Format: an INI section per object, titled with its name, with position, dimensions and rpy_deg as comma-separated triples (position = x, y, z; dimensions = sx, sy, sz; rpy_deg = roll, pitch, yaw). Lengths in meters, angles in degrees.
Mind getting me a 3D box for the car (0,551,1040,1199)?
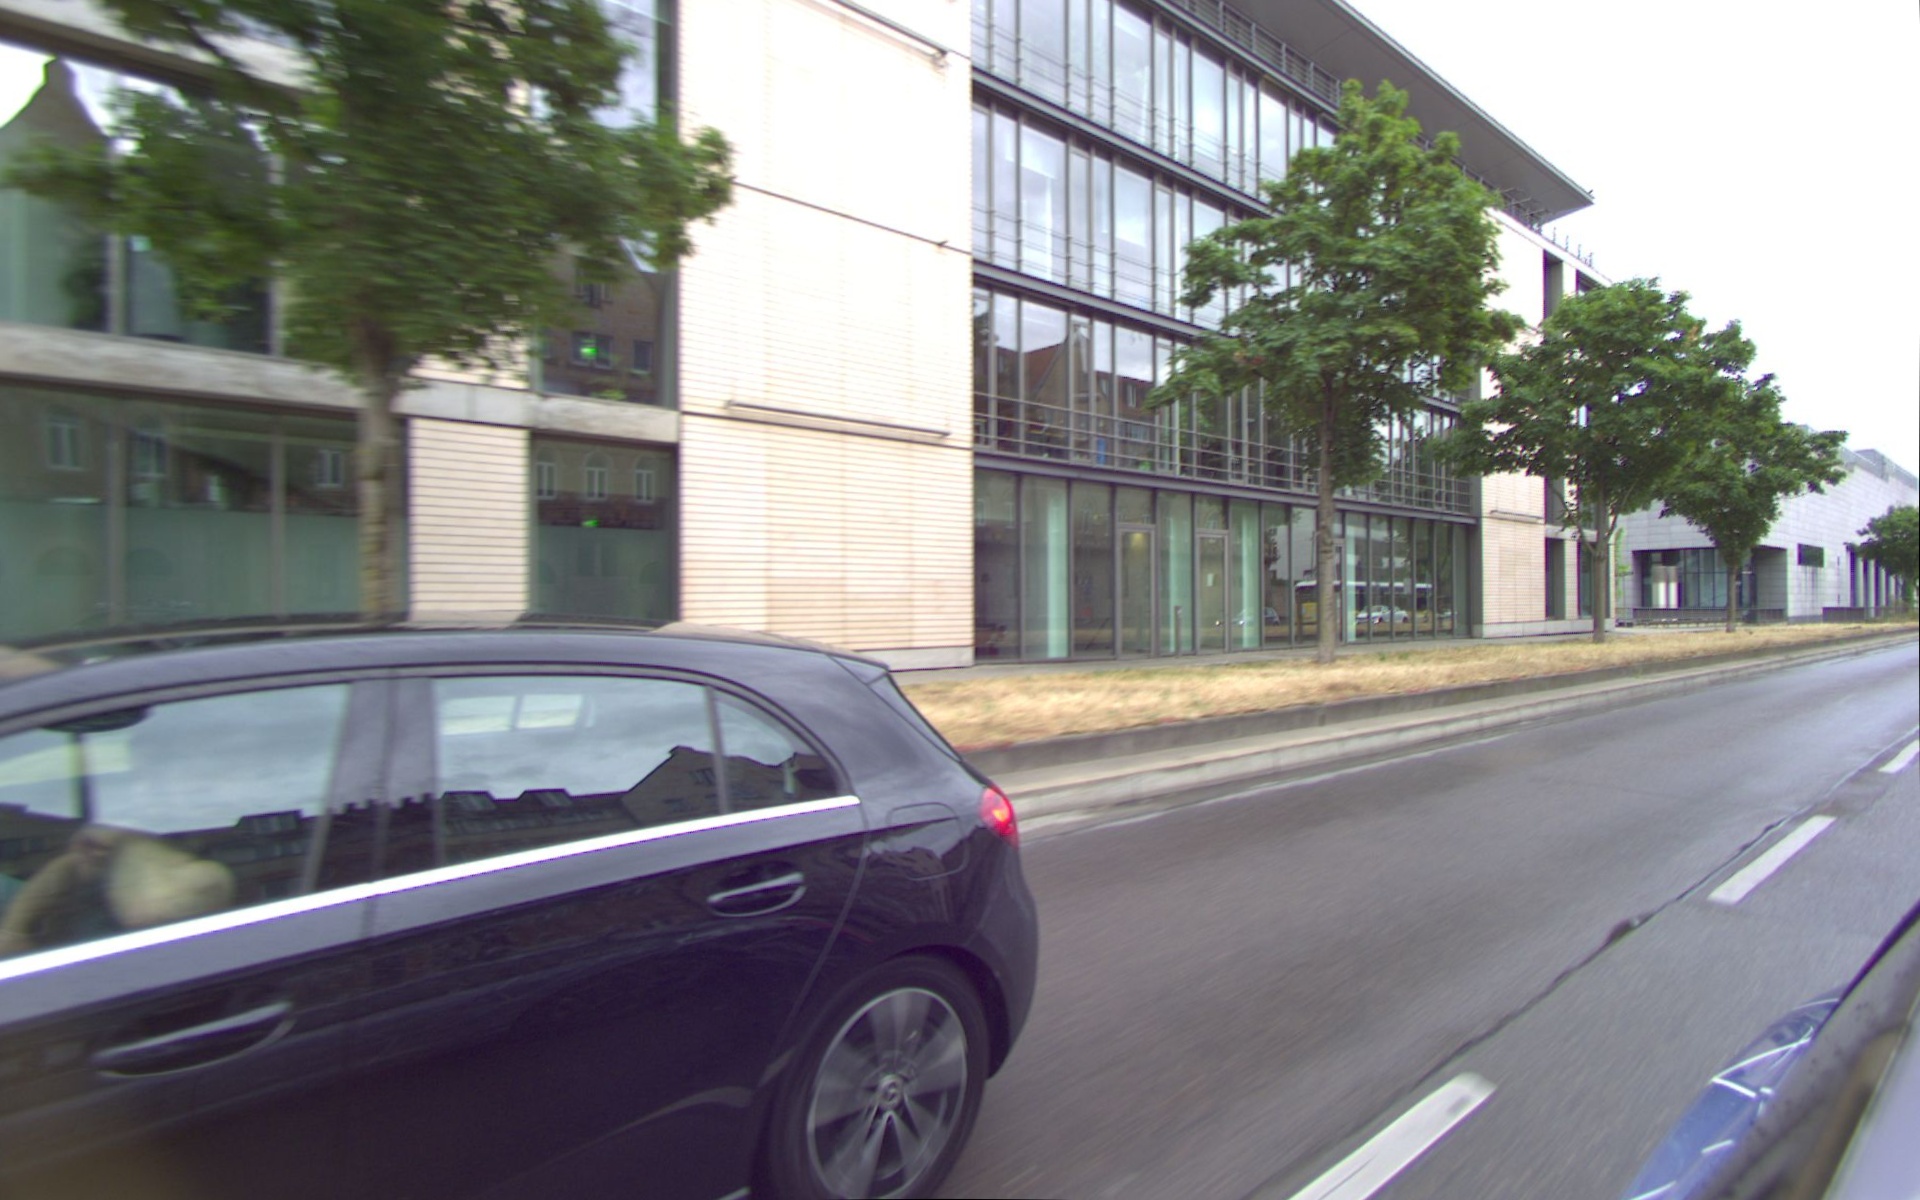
[car]
position = -1.958, 0.648, 1.959
dimensions = 4.132, 1.455, 1.875
rpy_deg = 1, 0, -42
